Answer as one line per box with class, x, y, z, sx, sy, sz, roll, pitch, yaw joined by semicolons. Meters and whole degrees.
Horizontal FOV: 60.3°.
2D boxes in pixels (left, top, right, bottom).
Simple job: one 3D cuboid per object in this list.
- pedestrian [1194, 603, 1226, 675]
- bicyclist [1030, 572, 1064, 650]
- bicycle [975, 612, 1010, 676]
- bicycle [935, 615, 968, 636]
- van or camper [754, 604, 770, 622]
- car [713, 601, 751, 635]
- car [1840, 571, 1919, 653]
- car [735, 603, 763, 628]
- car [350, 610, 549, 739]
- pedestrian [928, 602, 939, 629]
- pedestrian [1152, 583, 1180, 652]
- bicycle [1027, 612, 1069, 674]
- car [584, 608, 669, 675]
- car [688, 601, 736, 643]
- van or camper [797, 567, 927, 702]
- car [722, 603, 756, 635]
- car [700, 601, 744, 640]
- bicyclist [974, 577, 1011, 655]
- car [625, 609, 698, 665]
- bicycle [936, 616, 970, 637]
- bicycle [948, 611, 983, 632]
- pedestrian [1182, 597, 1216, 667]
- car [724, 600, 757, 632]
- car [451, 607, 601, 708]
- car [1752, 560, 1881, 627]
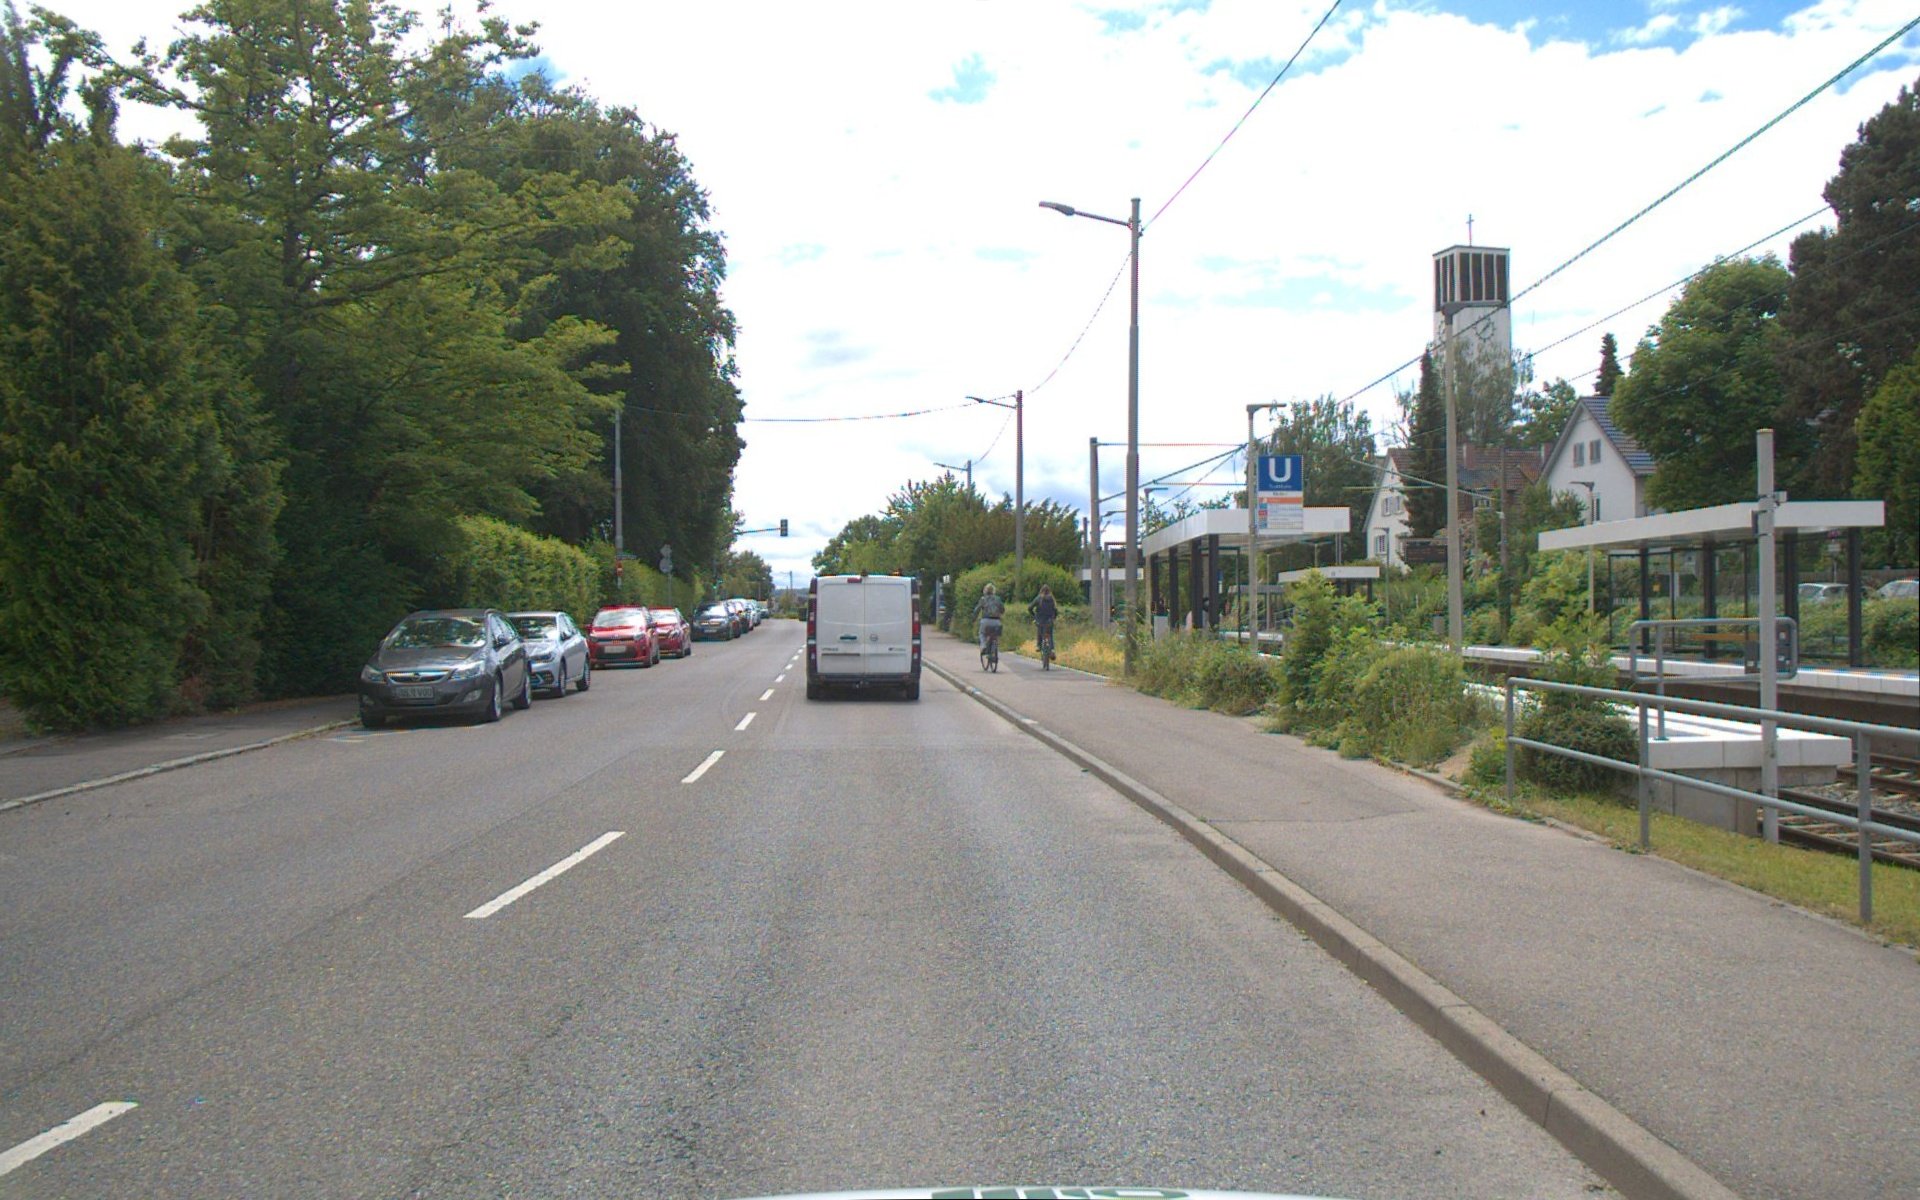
pedestrian;4.813;0.740;31.874;0.481;1.367;0.392;0;0;-33
bicyclist;1.891;0.235;36.054;0.626;1.678;0.818;0;0;-5
bicycle;0.681;0.906;34.859;0.535;1.268;2.053;0;0;-5
bicycle;-0.426;1.309;83.598;1.666;1.048;0.490;0;0;-6
van or camper;-25.243;1.614;210.710;1.966;2.301;4.606;0;0;-6
car;-11.808;0.929;85.768;1.728;1.685;3.810;-1;0;-6
car;23.739;0.340;41.108;1.696;1.948;3.935;1;-1;1
car;-14.250;1.031;111.771;1.728;1.584;3.810;-1;0;-6
car;-7.007;0.954;23.147;1.703;1.531;4.472;-2;0;-5
pedestrian;-1.687;0.963;104.599;0.660;1.726;0.522;0;0;0
pedestrian;5.288;0.434;42.416;0.624;1.755;0.655;0;0;13
bicycle;1.914;0.919;36.048;0.606;1.268;2.393;0;0;-5
car;-8.283;1.006;41.334;1.557;1.531;3.512;-2;0;-3
car;-10.421;0.893;69.623;1.728;1.654;4.180;-1;0;-6
van or camper;-1.656;0.558;27.684;1.954;2.049;4.442;1;-1;-4
car;-12.182;1.020;91.354;1.728;1.685;3.810;-1;0;-6
car;-10.836;0.930;75.487;1.728;1.685;4.056;-1;0;-6
bicyclist;0.682;0.333;34.829;0.703;1.640;0.757;0;0;-5
car;-8.662;1.044;48.264;1.728;1.497;4.180;-1;0;-6
bicycle;-0.355;1.308;83.023;1.666;1.048;0.490;0;0;-6
bicycle;0.276;1.048;80.943;1.666;1.048;0.490;0;0;-6
pedestrian;4.903;0.650;33.987;0.570;1.404;0.739;0;0;-3
car;-13.022;0.941;98.274;1.728;1.787;3.810;-1;0;-6
car;-7.420;0.931;28.627;1.702;1.531;3.960;-2;0;-3
car;23.924;-0.168;46.353;1.696;1.782;3.936;0;0;2
